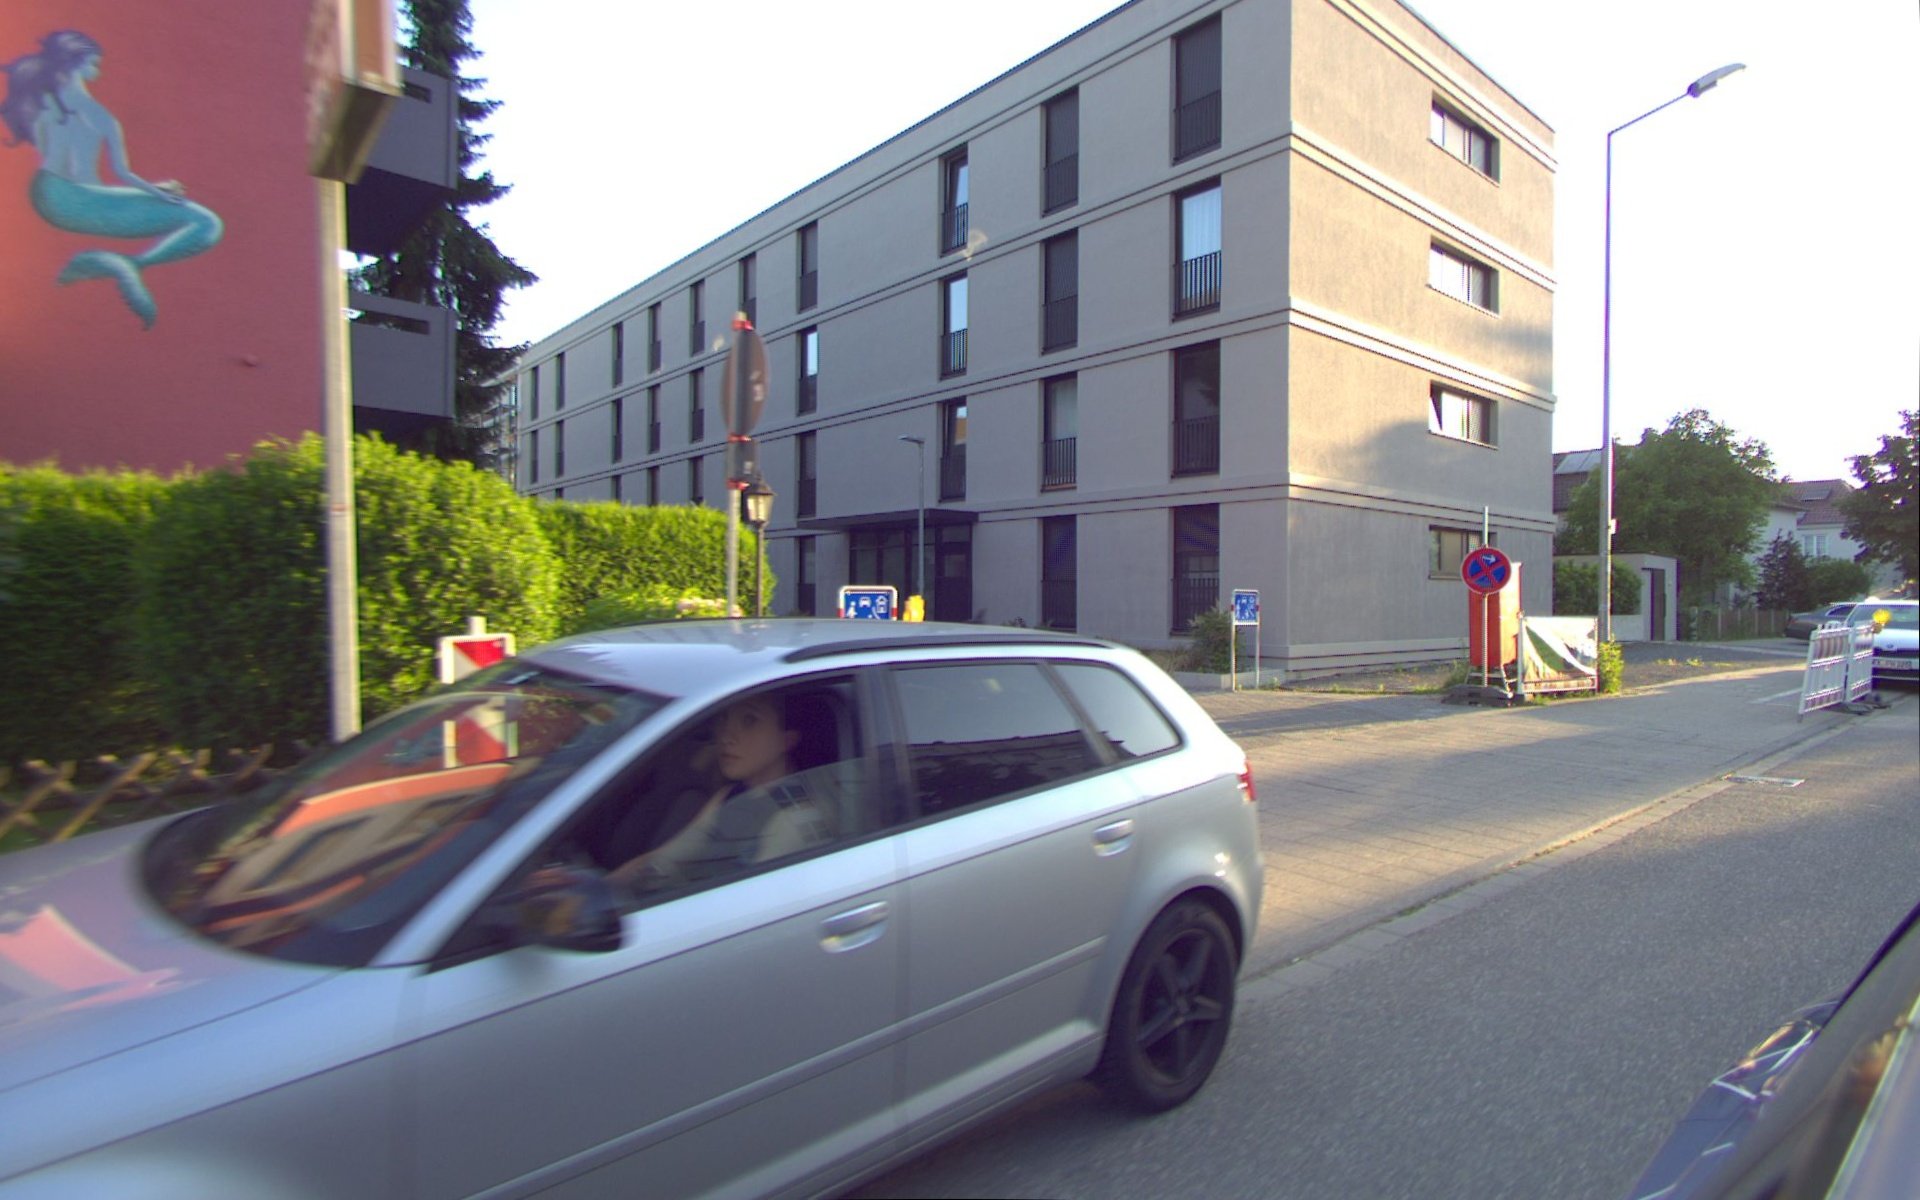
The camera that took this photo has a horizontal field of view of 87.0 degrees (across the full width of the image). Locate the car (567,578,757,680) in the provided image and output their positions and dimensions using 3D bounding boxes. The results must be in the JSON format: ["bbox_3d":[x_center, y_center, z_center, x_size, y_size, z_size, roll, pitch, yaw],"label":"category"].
[{"bbox_3d":[-5.361,0.410,17.927,1.852,1.587,3.909,0,1,-39],"label":"car"}]

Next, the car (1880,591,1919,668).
[{"bbox_3d":[20.127,0.570,20.567,3.778,1.488,1.799,0,0,-43],"label":"car"}]

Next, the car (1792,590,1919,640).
[{"bbox_3d":[28.903,0.469,31.134,1.738,1.415,4.830,1,1,-39],"label":"car"}]

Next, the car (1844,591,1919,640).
[{"bbox_3d":[31.399,0.532,32.621,1.737,1.520,4.068,1,1,-36],"label":"car"}]

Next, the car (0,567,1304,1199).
[{"bbox_3d":[-0.970,0.652,2.689,4.035,1.414,1.779,0,0,-41],"label":"car"}]

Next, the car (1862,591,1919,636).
[{"bbox_3d":[34.592,0.478,35.803,1.600,1.563,3.839,0,0,-40],"label":"car"}]

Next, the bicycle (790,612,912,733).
[{"bbox_3d":[-1.162,0.690,10.444,0.438,1.083,1.900,0,1,-33],"label":"bicycle"}]

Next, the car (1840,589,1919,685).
[{"bbox_3d":[16.253,0.565,17.129,3.928,1.488,1.616,0,0,-42],"label":"car"}]

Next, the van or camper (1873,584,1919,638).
[{"bbox_3d":[36.686,0.415,37.093,2.059,1.978,4.653,0,0,-42],"label":"van or camper"}]
